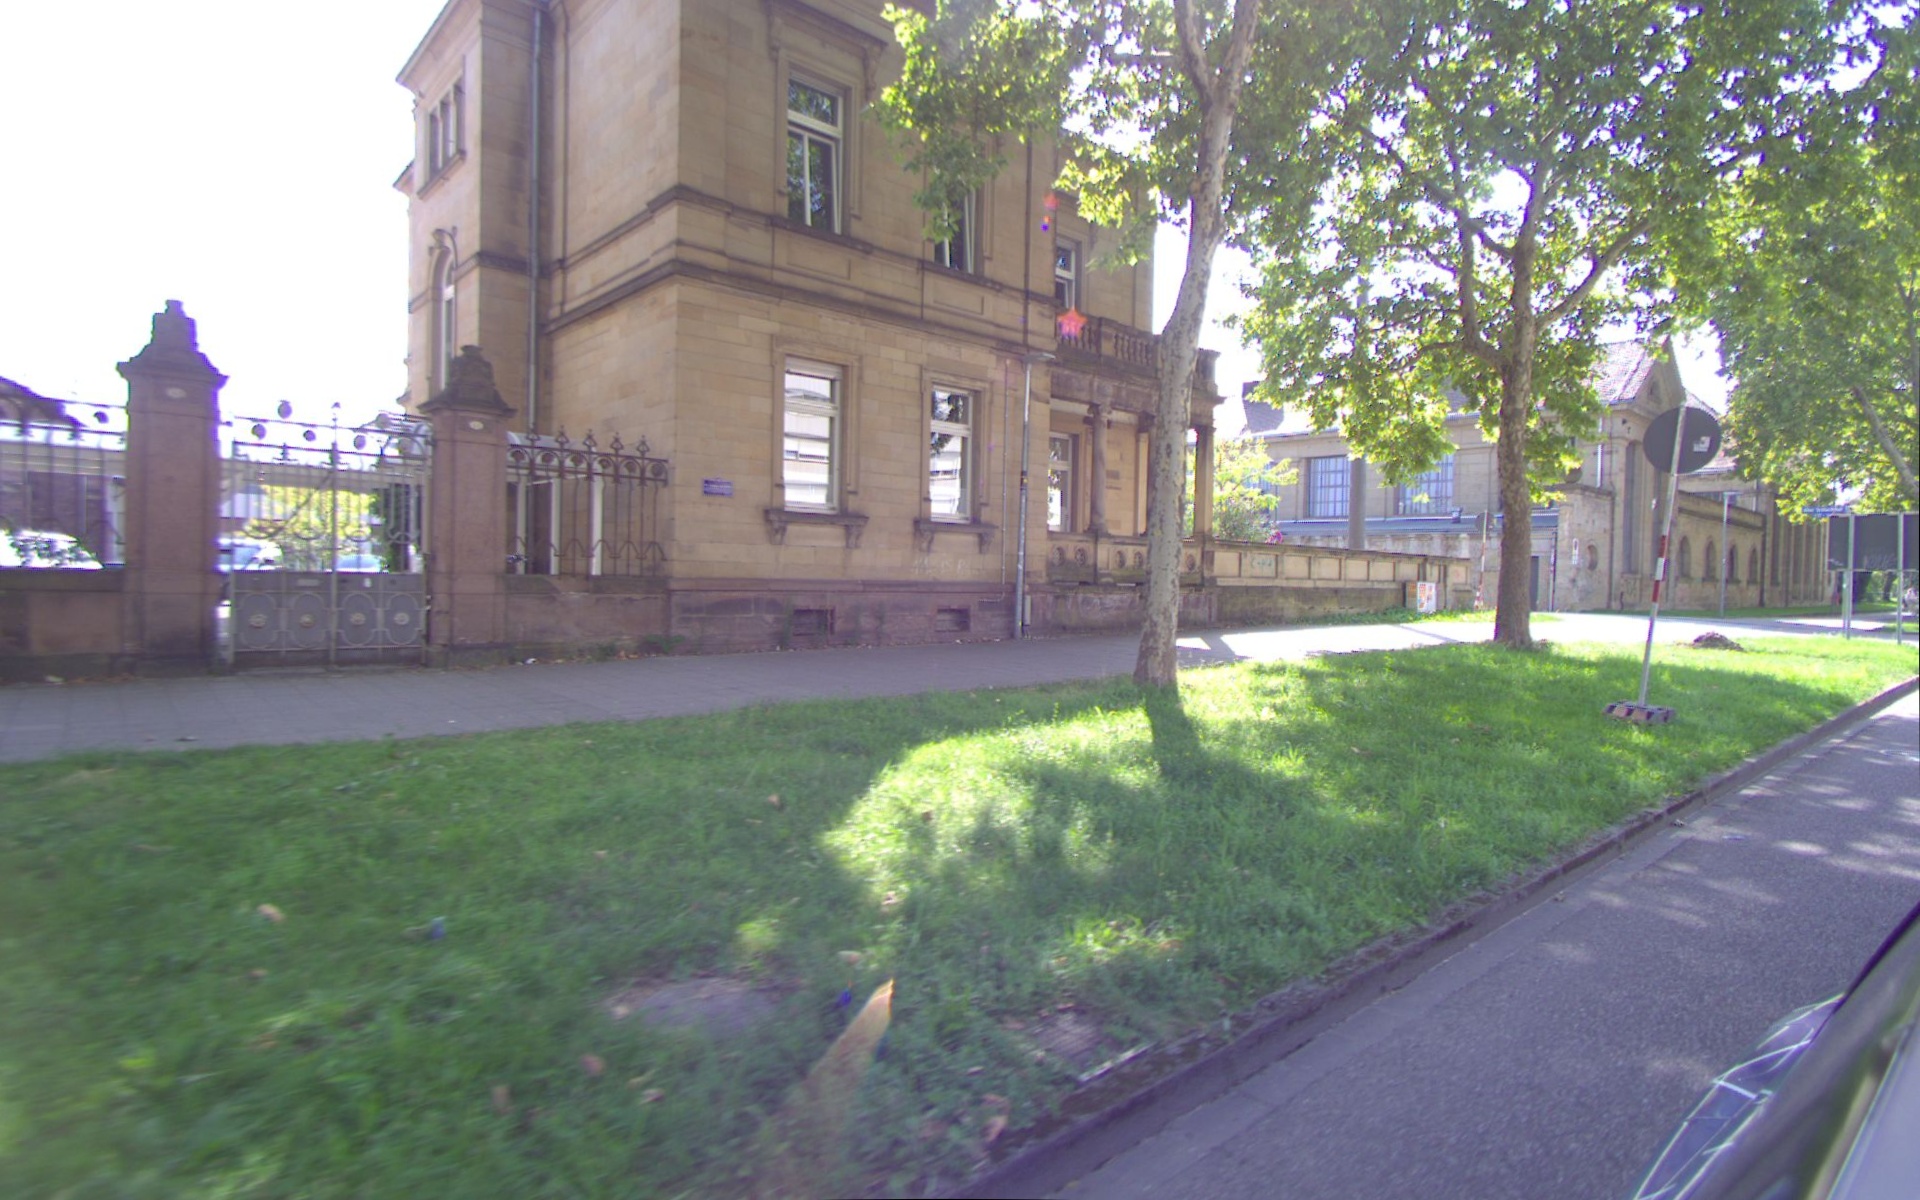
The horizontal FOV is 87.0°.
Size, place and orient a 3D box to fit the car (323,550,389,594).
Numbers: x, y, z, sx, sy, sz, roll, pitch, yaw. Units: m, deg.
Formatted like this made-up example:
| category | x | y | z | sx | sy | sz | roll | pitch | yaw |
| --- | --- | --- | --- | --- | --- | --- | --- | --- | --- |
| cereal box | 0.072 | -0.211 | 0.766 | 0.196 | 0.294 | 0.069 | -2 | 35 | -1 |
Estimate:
| category | x | y | z | sx | sy | sz | roll | pitch | yaw |
| --- | --- | --- | --- | --- | --- | --- | --- | --- | --- |
| car | -20.096 | -0.919 | 33.647 | 1.786 | 1.360 | 4.127 | -1 | 2 | -31 |

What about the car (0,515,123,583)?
| category | x | y | z | sx | sy | sz | roll | pitch | yaw |
| --- | --- | --- | --- | --- | --- | --- | --- | --- | --- |
| car | -26.102 | -1.377 | 28.473 | 1.784 | 1.768 | 5.030 | 0 | 1 | -12 |

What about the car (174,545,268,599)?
| category | x | y | z | sx | sy | sz | roll | pitch | yaw |
| --- | --- | --- | --- | --- | --- | --- | --- | --- | --- |
| car | -20.075 | -0.763 | 27.627 | 1.786 | 1.360 | 4.126 | -1 | 2 | -32 |
